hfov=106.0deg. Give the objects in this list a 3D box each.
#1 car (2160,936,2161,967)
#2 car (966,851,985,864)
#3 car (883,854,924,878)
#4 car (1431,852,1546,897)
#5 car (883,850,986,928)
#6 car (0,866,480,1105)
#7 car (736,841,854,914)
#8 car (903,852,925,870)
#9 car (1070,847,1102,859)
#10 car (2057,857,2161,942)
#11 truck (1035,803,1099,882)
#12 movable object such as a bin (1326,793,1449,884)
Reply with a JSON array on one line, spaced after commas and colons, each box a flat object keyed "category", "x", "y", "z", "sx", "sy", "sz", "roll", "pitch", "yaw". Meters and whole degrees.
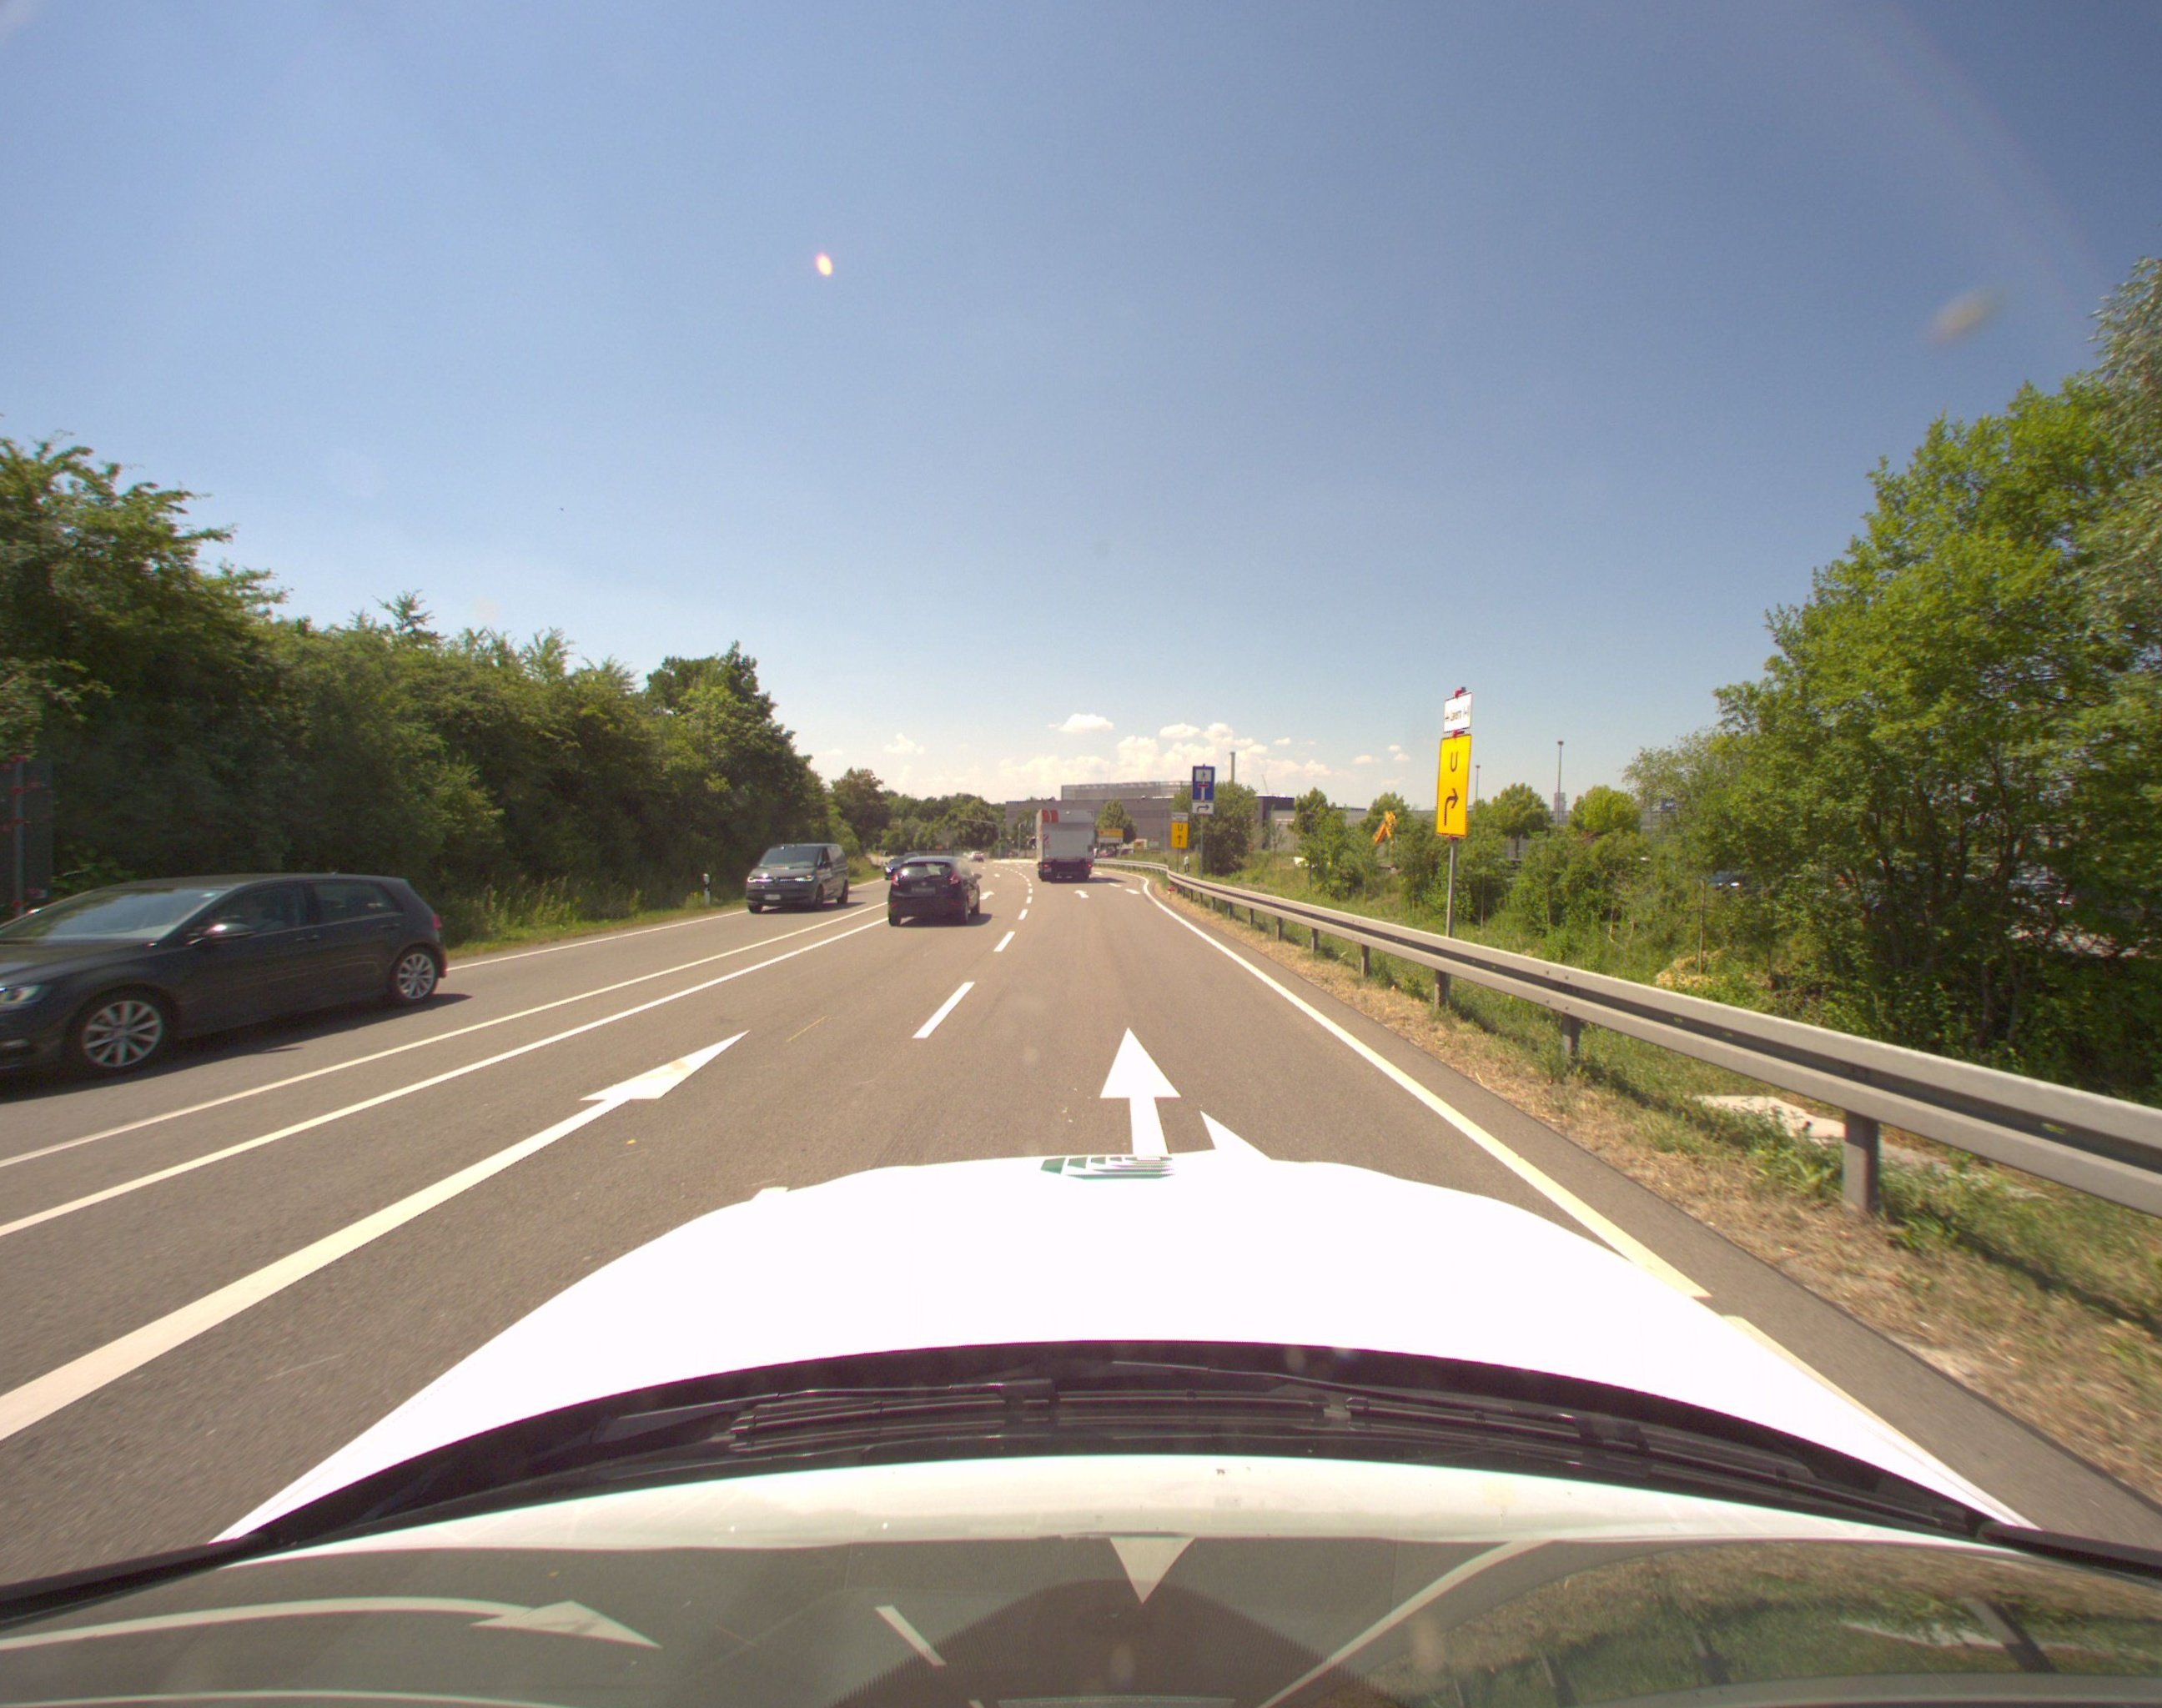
[{"category": "car", "x": 20.326, "y": 0.999, "z": 12.532, "sx": 4.662, "sy": 1.968, "sz": 2.001, "roll": 1, "pitch": 3, "yaw": 1}, {"category": "car", "x": -14.949, "y": 0.447, "z": 115.325, "sx": 1.948, "sy": 1.664, "sz": 3.978, "roll": 2, "pitch": 0, "yaw": -16}, {"category": "car", "x": -11.126, "y": 0.720, "z": 51.442, "sx": 1.813, "sy": 1.442, "sz": 4.637, "roll": -1, "pitch": 0, "yaw": -4}, {"category": "car", "x": 19.273, "y": 0.934, "z": 38.688, "sx": 4.422, "sy": 1.913, "sz": 2.062, "roll": 1, "pitch": 3, "yaw": -3}, {"category": "car", "x": -3.248, "y": 0.712, "z": 18.808, "sx": 1.648, "sy": 1.493, "sz": 4.207, "roll": 0, "pitch": 2, "yaw": -1}, {"category": "car", "x": -7.874, "y": 0.887, "z": 7.234, "sx": 1.872, "sy": 1.442, "sz": 4.327, "roll": -1, "pitch": 0, "yaw": -1}, {"category": "car", "x": -8.266, "y": 0.605, "z": 24.108, "sx": 1.990, "sy": 1.894, "sz": 5.096, "roll": -1, "pitch": 0, "yaw": -4}, {"category": "car", "x": -16.128, "y": 0.653, "z": 78.342, "sx": 1.995, "sy": 1.593, "sz": 4.662, "roll": -1, "pitch": 0, "yaw": -13}, {"category": "car", "x": 0.817, "y": -0.144, "z": 128.652, "sx": 4.713, "sy": 1.932, "sz": 2.161, "roll": -1, "pitch": 0, "yaw": 12}, {"category": "car", "x": 31.318, "y": 1.291, "z": 23.598, "sx": 1.975, "sy": 2.170, "sz": 5.185, "roll": 2, "pitch": 3, "yaw": 27}, {"category": "truck", "x": -0.916, "y": -0.624, "z": 43.067, "sx": 2.799, "sy": 3.710, "sz": 9.092, "roll": 0, "pitch": 1, "yaw": -5}, {"category": "movable object such as a bin", "x": 19.180, "y": -1.100, "z": 51.819, "sx": 3.420, "sy": 5.259, "sz": 9.212, "roll": 1, "pitch": 3, "yaw": -6}]
